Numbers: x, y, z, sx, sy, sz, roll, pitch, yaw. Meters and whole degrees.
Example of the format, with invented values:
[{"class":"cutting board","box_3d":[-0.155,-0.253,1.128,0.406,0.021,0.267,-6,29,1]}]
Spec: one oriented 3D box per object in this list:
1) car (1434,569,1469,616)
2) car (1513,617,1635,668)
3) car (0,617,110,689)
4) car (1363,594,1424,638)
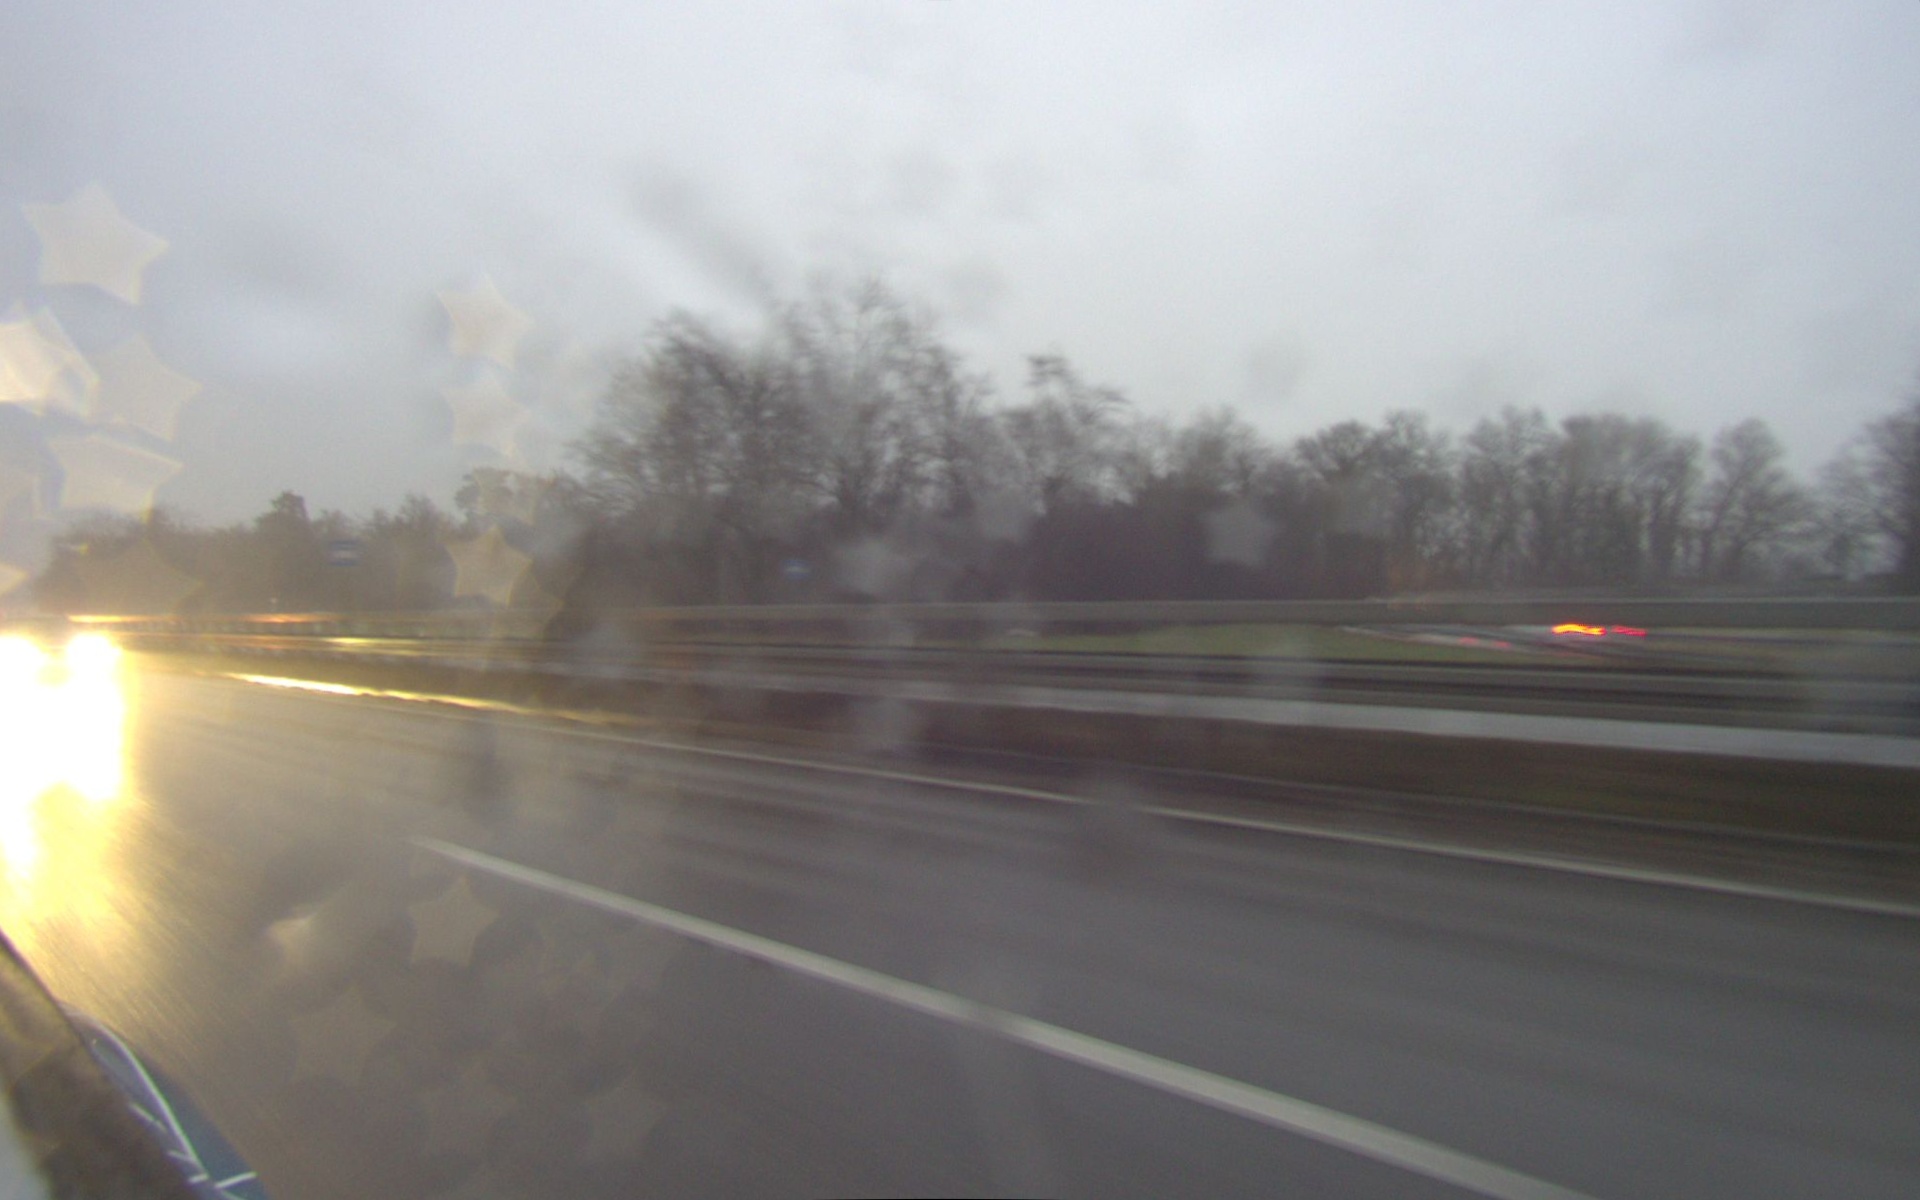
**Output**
[{"class":"car","box_3d":[34.619,-0.518,71.174,1.991,2.021,3.976,-4,17,29]},{"class":"car","box_3d":[20.600,1.385,34.140,1.725,1.498,3.998,-1,1,2]},{"class":"car","box_3d":[-21.898,1.196,23.944,4.406,1.479,1.781,-1,0,37]},{"class":"car","box_3d":[19.276,0.686,45.137,1.731,1.829,3.984,-1,1,12]}]
